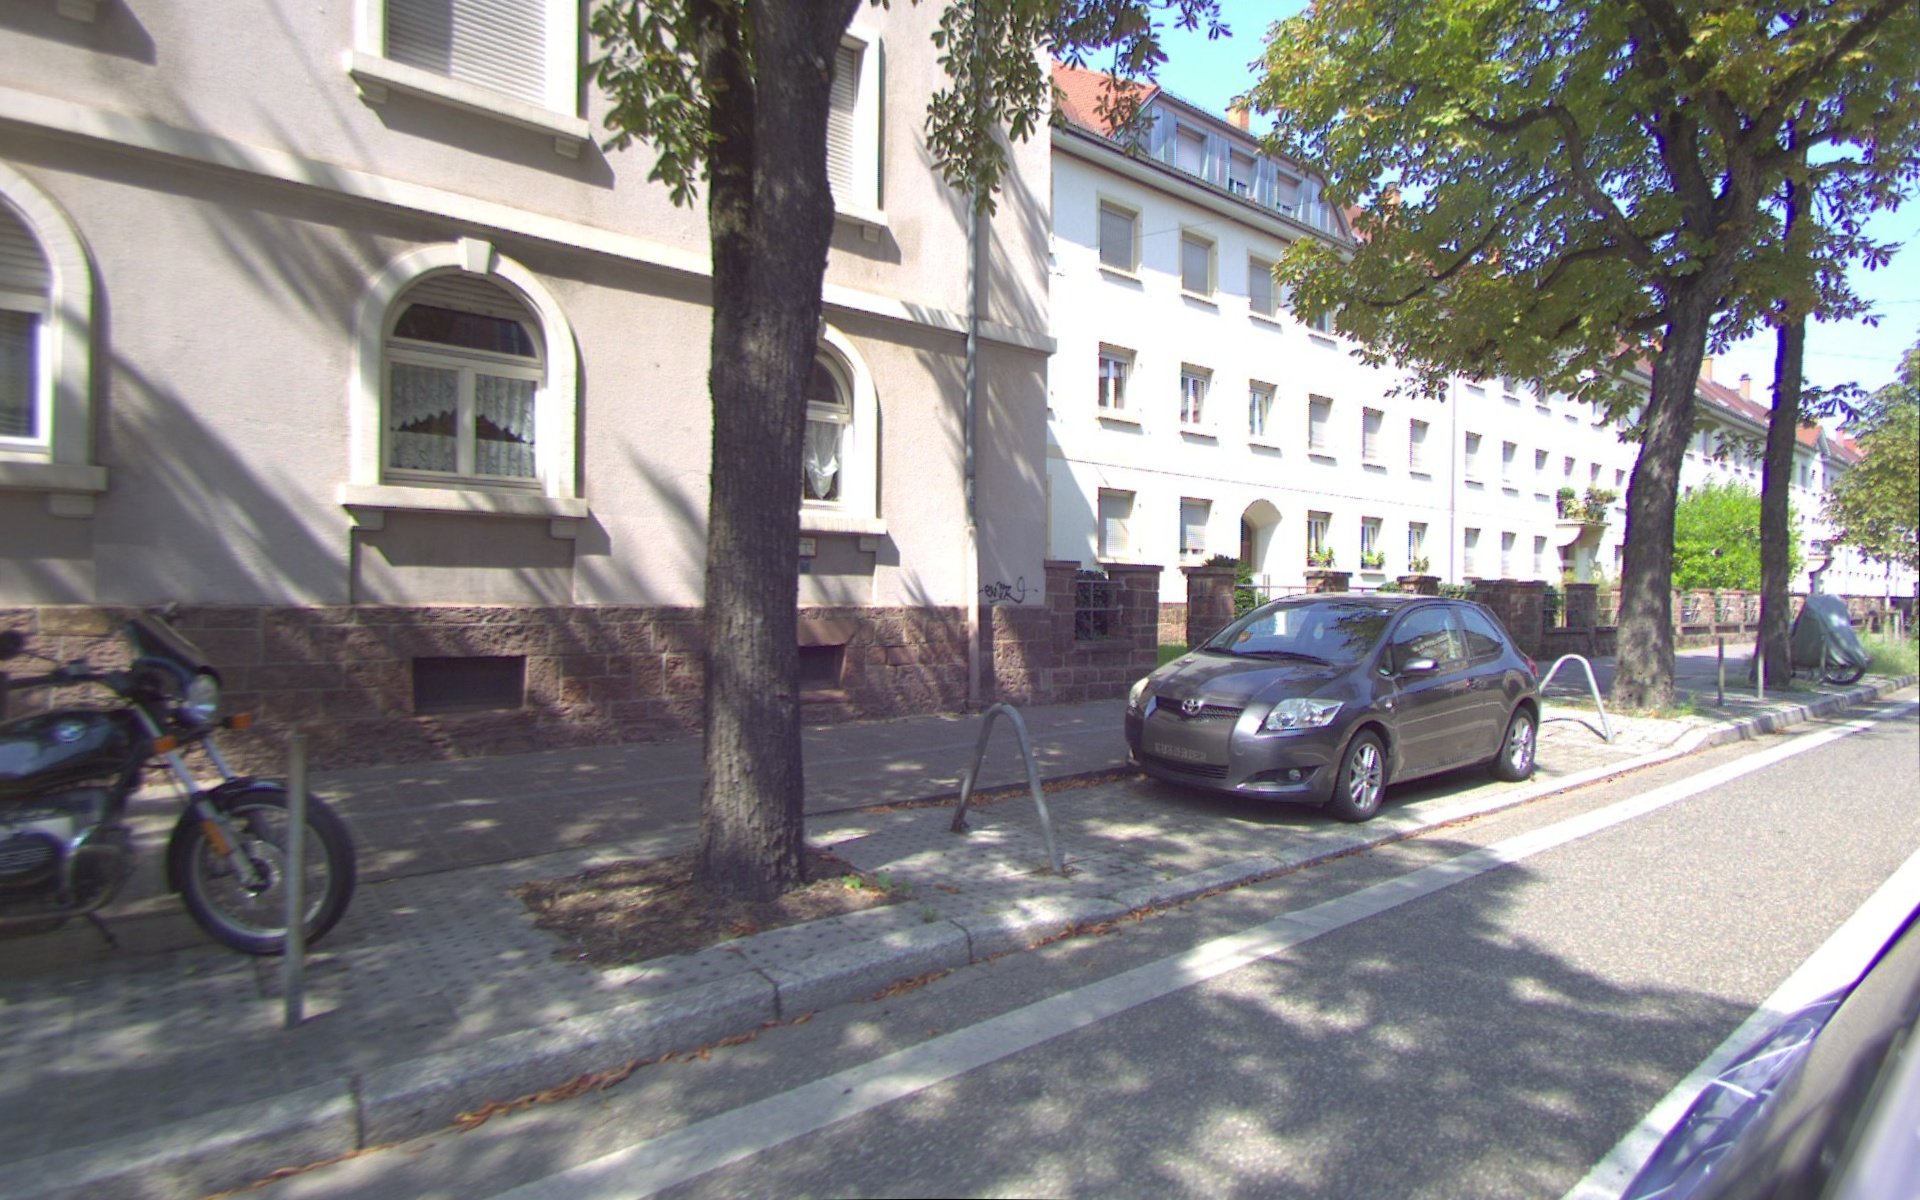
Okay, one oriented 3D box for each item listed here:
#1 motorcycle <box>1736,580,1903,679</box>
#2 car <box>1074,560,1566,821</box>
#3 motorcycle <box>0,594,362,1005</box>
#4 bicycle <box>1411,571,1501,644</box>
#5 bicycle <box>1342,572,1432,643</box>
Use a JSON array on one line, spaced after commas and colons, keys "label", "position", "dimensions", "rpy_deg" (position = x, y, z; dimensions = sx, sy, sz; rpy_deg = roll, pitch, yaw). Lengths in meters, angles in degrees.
[{"label": "motorcycle", "position": [15.182, 0.471, 17.991], "dimensions": [0.951, 1.558, 2.346], "rpy_deg": [0, 3, 2]}, {"label": "car", "position": [2.992, 0.556, 8.014], "dimensions": [4.041, 1.551, 1.845], "rpy_deg": [2, 0, -40]}, {"label": "motorcycle", "position": [-3.280, 0.621, 3.362], "dimensions": [2.139, 1.271, 0.711], "rpy_deg": [0, 0, -41]}, {"label": "bicycle", "position": [9.800, 0.127, 19.967], "dimensions": [2.324, 1.375, 0.596], "rpy_deg": [0, 1, -37]}, {"label": "bicycle", "position": [8.719, 0.131, 20.603], "dimensions": [2.324, 1.375, 0.596], "rpy_deg": [0, 1, -37]}]
